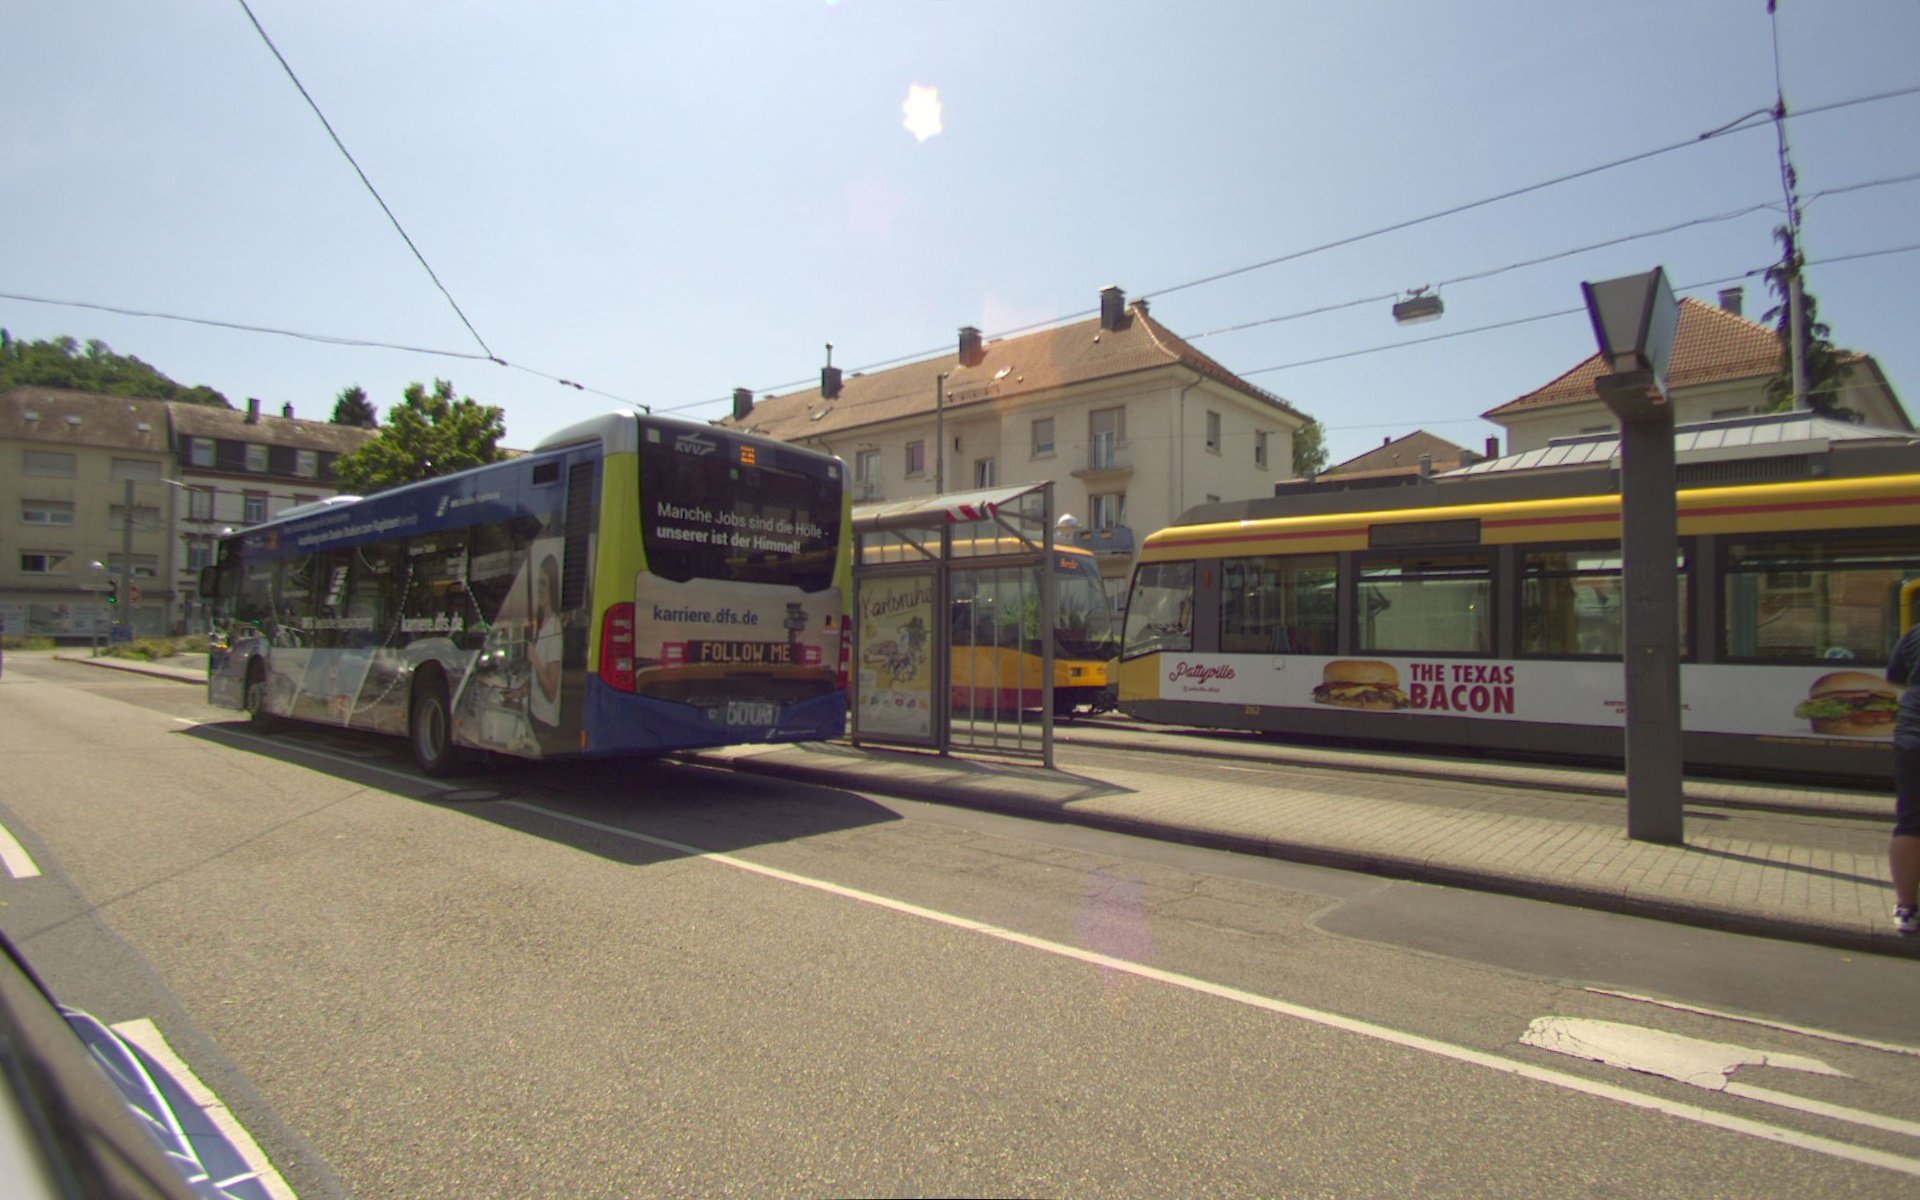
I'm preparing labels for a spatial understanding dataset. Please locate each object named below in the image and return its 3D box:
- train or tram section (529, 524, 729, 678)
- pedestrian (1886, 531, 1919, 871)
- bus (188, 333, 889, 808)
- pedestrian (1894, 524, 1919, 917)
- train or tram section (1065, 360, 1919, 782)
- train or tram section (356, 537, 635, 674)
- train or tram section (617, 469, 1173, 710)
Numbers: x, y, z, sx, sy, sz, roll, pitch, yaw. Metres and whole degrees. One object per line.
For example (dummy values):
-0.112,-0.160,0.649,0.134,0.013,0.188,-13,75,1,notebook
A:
-8.421,0.112,25.695,4.415,3.522,2.932,-1,-3,41,train or tram section
5.352,0.532,5.140,0.566,1.790,0.783,0,0,-1,pedestrian
-6.155,-0.121,12.397,12.033,3.453,2.878,-1,-1,41,bus
4.559,0.549,4.427,0.380,1.790,0.594,0,0,-1,pedestrian
9.014,-0.250,10.196,17.344,3.670,2.932,-1,-1,41,train or tram section
-14.773,0.245,31.257,12.707,3.521,2.932,-1,-1,41,train or tram section
-2.150,-0.048,20.080,12.651,3.521,2.932,-1,-1,41,train or tram section
